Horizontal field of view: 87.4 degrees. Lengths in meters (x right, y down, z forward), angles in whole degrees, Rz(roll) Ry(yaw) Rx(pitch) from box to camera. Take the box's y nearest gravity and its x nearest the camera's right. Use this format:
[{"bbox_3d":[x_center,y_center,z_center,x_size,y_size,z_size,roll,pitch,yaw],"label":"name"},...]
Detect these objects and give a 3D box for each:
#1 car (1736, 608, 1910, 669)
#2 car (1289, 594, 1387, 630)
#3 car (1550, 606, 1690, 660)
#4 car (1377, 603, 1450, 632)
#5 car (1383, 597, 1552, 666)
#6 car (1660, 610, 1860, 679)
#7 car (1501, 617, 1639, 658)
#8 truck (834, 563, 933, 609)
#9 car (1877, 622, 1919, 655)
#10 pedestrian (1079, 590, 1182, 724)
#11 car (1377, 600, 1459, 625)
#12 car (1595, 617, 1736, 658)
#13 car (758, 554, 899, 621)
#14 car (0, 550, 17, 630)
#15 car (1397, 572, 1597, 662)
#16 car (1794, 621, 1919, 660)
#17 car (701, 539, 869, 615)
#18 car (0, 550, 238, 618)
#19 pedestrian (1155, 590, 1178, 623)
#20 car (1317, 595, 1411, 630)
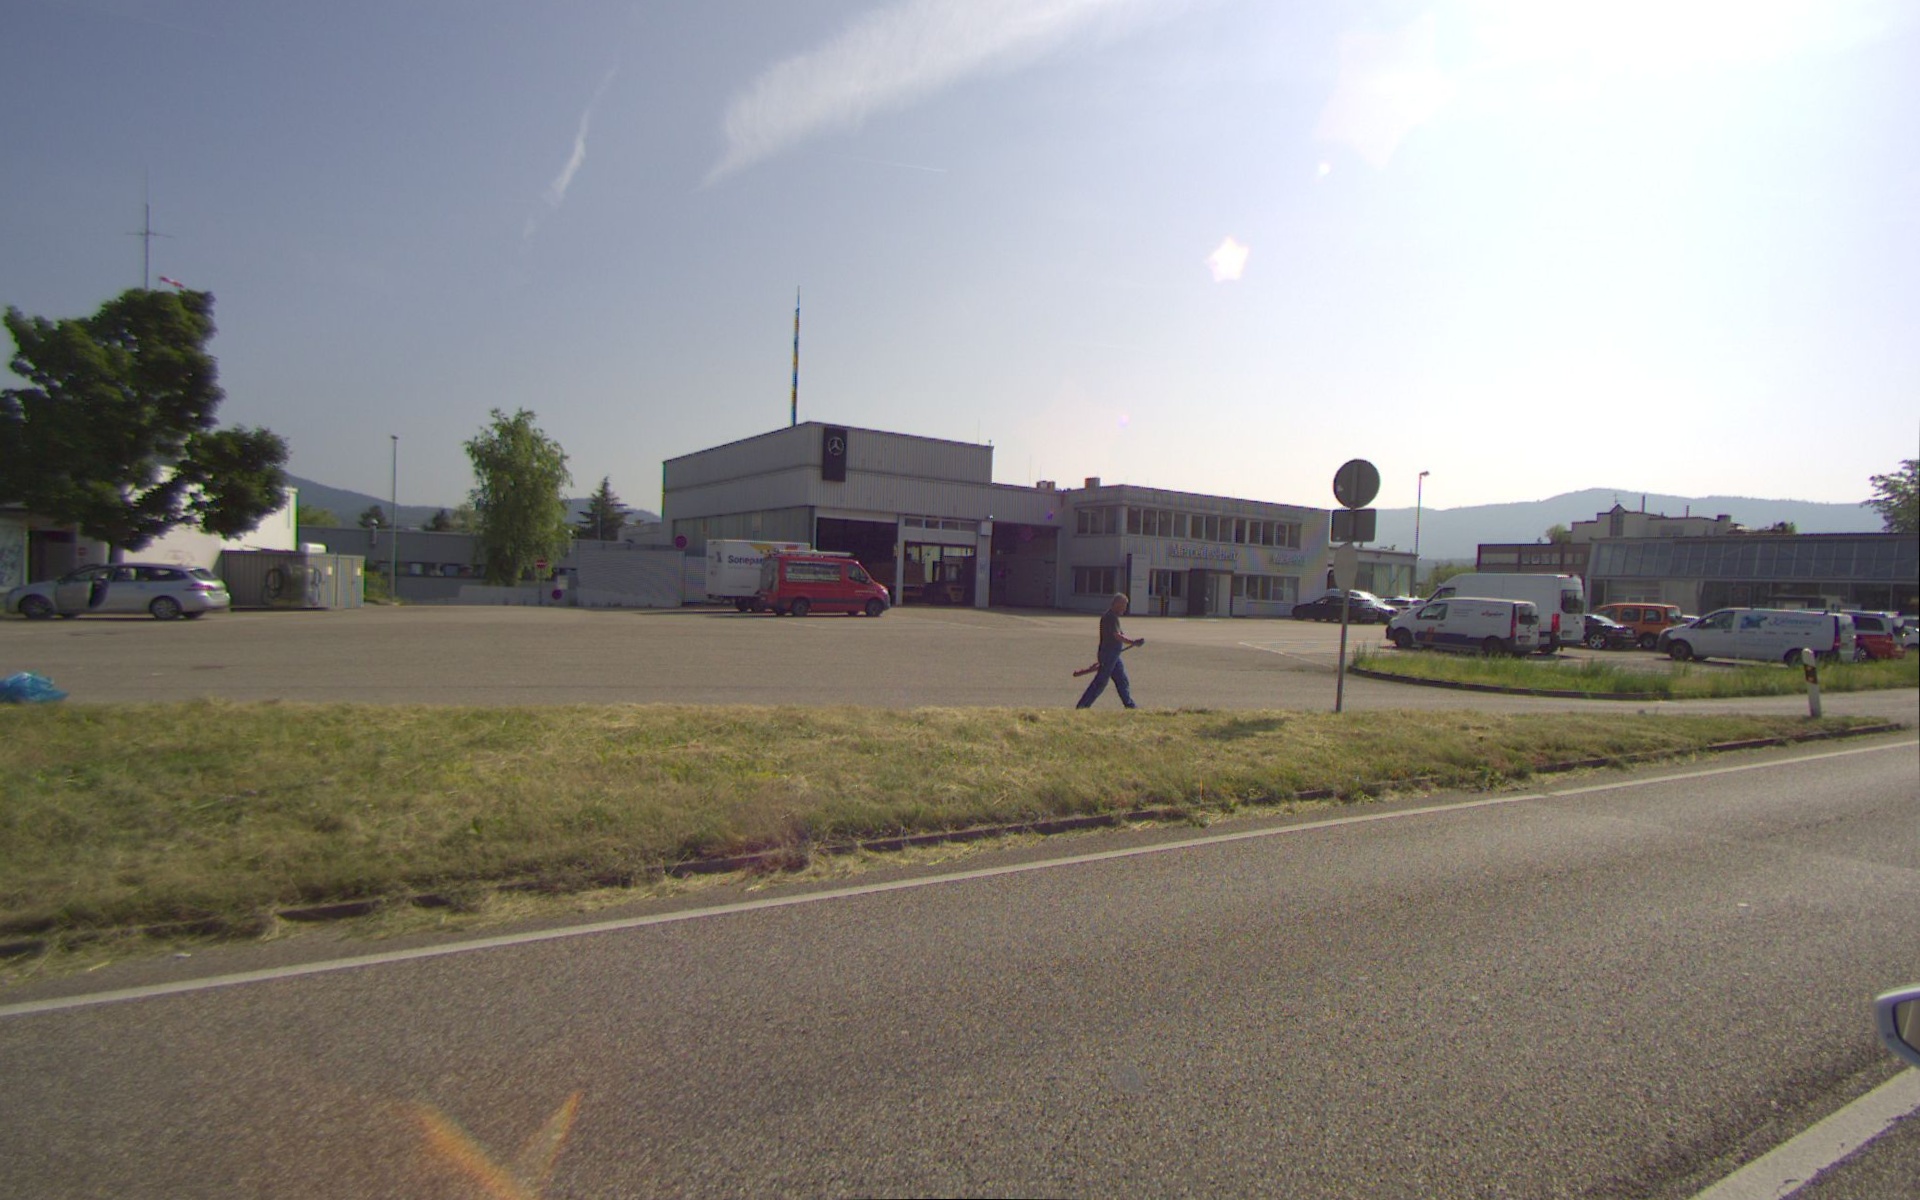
[{"bbox_3d":[34.152,1.476,39.892,2.206,2.008,4.760,1,2,-34],"label":"car"},{"bbox_3d":[21.158,0.641,56.440,2.187,1.879,4.787,0,1,-33],"label":"car"},{"bbox_3d":[27.063,1.318,41.321,1.981,1.832,4.352,1,2,-34],"label":"car"},{"bbox_3d":[26.714,1.042,59.128,4.522,1.512,1.793,3,0,-35],"label":"car"},{"bbox_3d":[16.314,0.960,32.512,1.967,1.864,4.415,2,2,-34],"label":"car"},{"bbox_3d":[25.940,1.382,32.751,2.122,1.882,4.640,1,2,-34],"label":"car"},{"bbox_3d":[24.238,1.456,40.067,1.781,1.336,4.352,1,1,-34],"label":"car"},{"bbox_3d":[-4.448,-0.758,57.030,2.427,2.388,6.833,2,-1,-34],"label":"truck"},{"bbox_3d":[53.538,2.152,56.562,4.362,1.736,1.794,1,1,-34],"label":"car"},{"bbox_3d":[2.261,0.744,13.459,1.123,1.712,0.849,2,0,-7],"label":"pedestrian"},{"bbox_3d":[31.379,0.829,68.975,2.185,1.587,4.792,1,1,-30],"label":"car"},{"bbox_3d":[29.469,1.547,42.091,1.947,1.417,4.436,2,1,-34],"label":"car"},{"bbox_3d":[-5.094,-0.454,39.231,5.169,2.418,1.869,1,0,-34],"label":"car"},{"bbox_3d":[-20.989,-0.243,18.774,4.580,1.587,1.715,1,0,-16],"label":"car"},{"bbox_3d":[18.532,0.514,35.005,2.261,2.781,5.687,2,1,-33],"label":"car"},{"bbox_3d":[38.551,1.698,42.827,4.145,1.422,1.899,3,0,16],"label":"car"},{"bbox_3d":[-7.201,-0.874,41.729,6.460,2.894,2.380,1,0,-34],"label":"car"},{"bbox_3d":[-21.911,-0.382,26.270,4.589,1.587,1.712,1,0,-22],"label":"car"},{"bbox_3d":[10.892,0.330,52.959,0.842,1.712,0.814,2,-1,-37],"label":"pedestrian"},{"bbox_3d":[23.160,0.692,57.811,1.932,1.879,4.787,0,1,-33],"label":"car"}]
